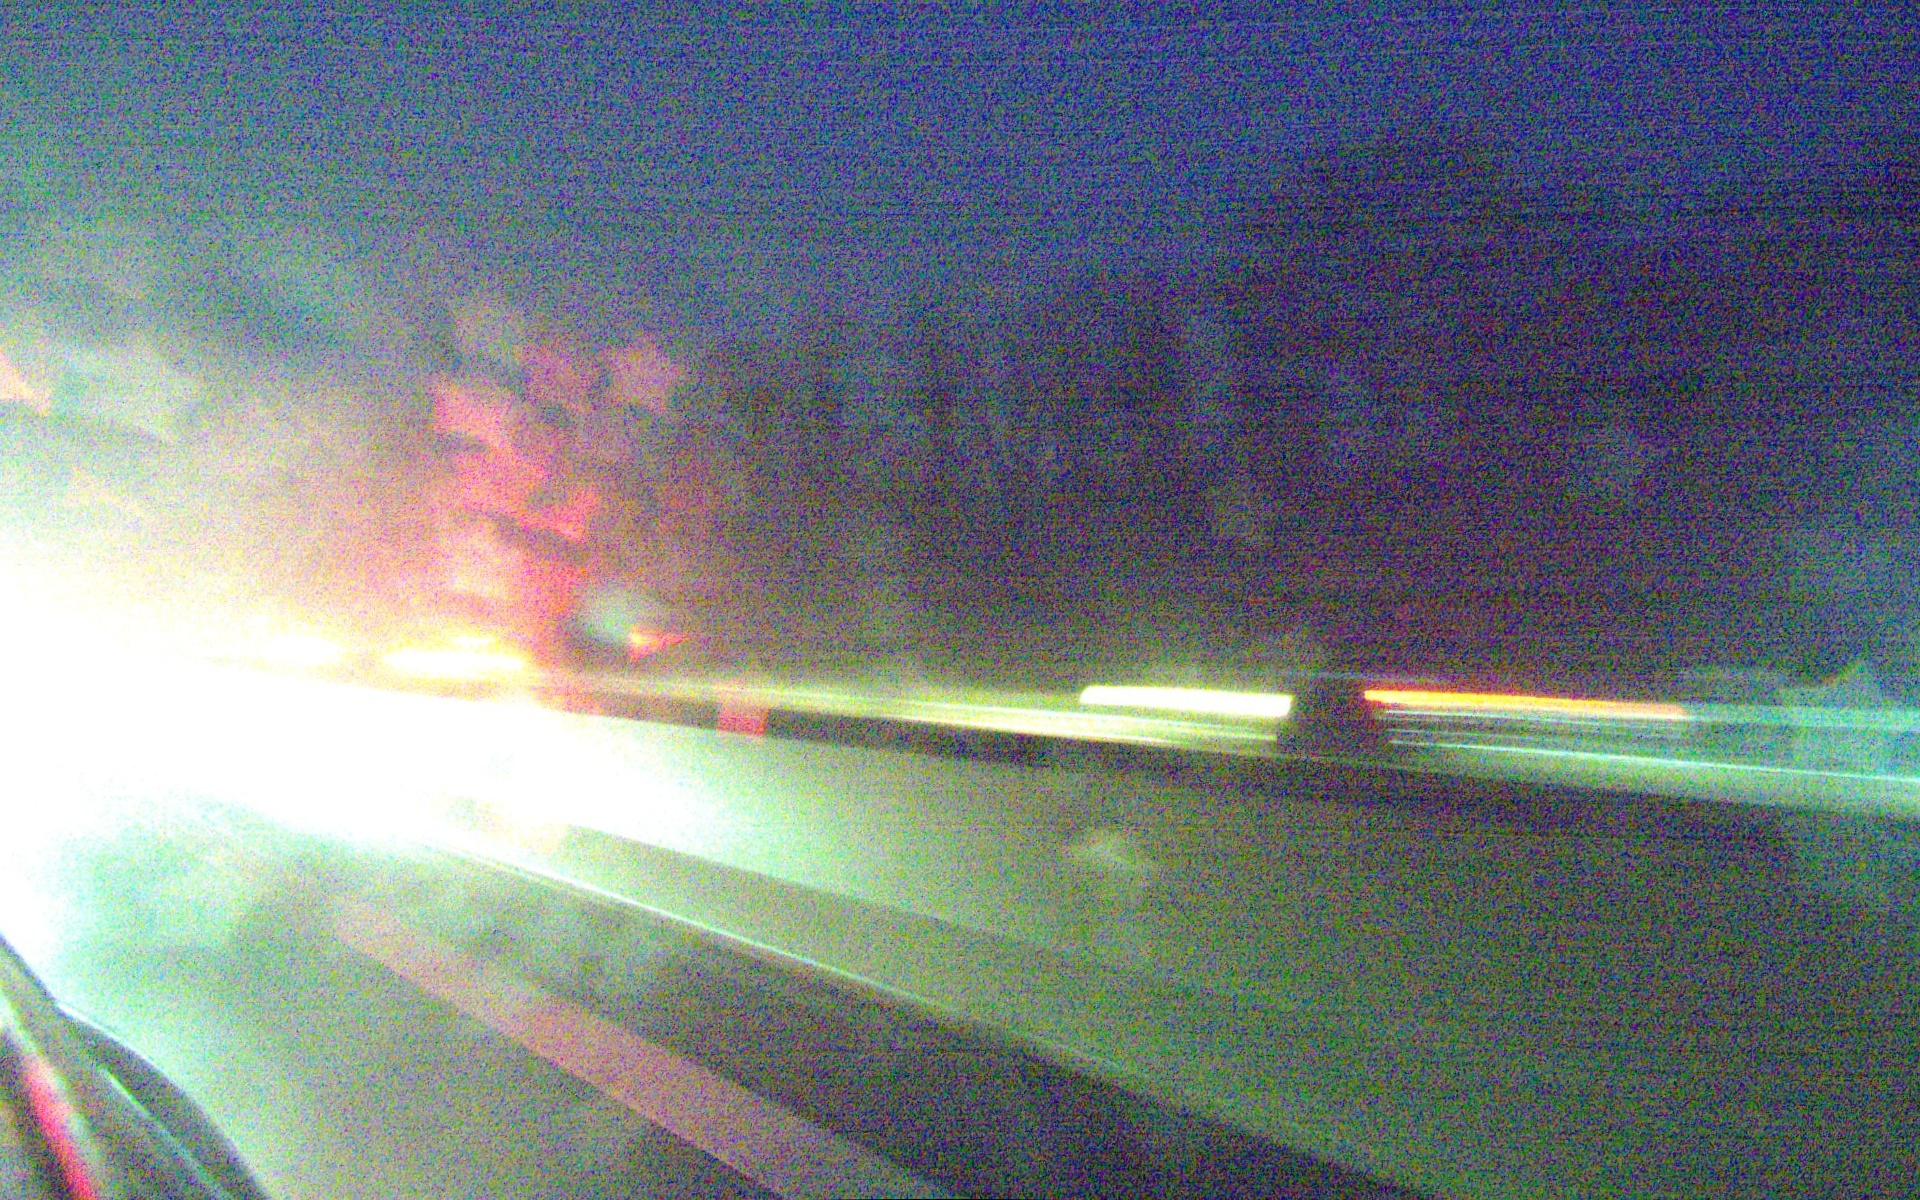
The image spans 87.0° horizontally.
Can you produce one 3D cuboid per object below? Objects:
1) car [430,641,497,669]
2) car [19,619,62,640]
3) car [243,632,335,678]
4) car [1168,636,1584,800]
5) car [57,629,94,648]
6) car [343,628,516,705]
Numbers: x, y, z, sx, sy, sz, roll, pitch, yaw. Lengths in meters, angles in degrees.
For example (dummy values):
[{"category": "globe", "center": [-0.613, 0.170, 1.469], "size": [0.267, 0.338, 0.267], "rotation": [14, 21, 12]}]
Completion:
[{"category": "car", "center": [-29.849, 3.263, 60.803], "size": [4.347, 1.482, 1.845], "rotation": [-1, 0, 37]}, {"category": "car", "center": [-74.330, 2.424, 81.785], "size": [4.742, 1.629, 1.973], "rotation": [-2, -3, 40]}, {"category": "car", "center": [-26.113, 2.085, 39.341], "size": [4.511, 1.593, 1.842], "rotation": [-1, 0, 41]}, {"category": "car", "center": [4.658, 1.200, 11.670], "size": [4.112, 1.537, 1.736], "rotation": [-1, -3, 40]}, {"category": "car", "center": [-79.320, 3.452, 90.726], "size": [4.498, 1.629, 1.853], "rotation": [-2, -3, 40]}, {"category": "car", "center": [-10.642, 1.258, 20.189], "size": [4.115, 1.372, 1.735], "rotation": [-1, -3, 42]}]
